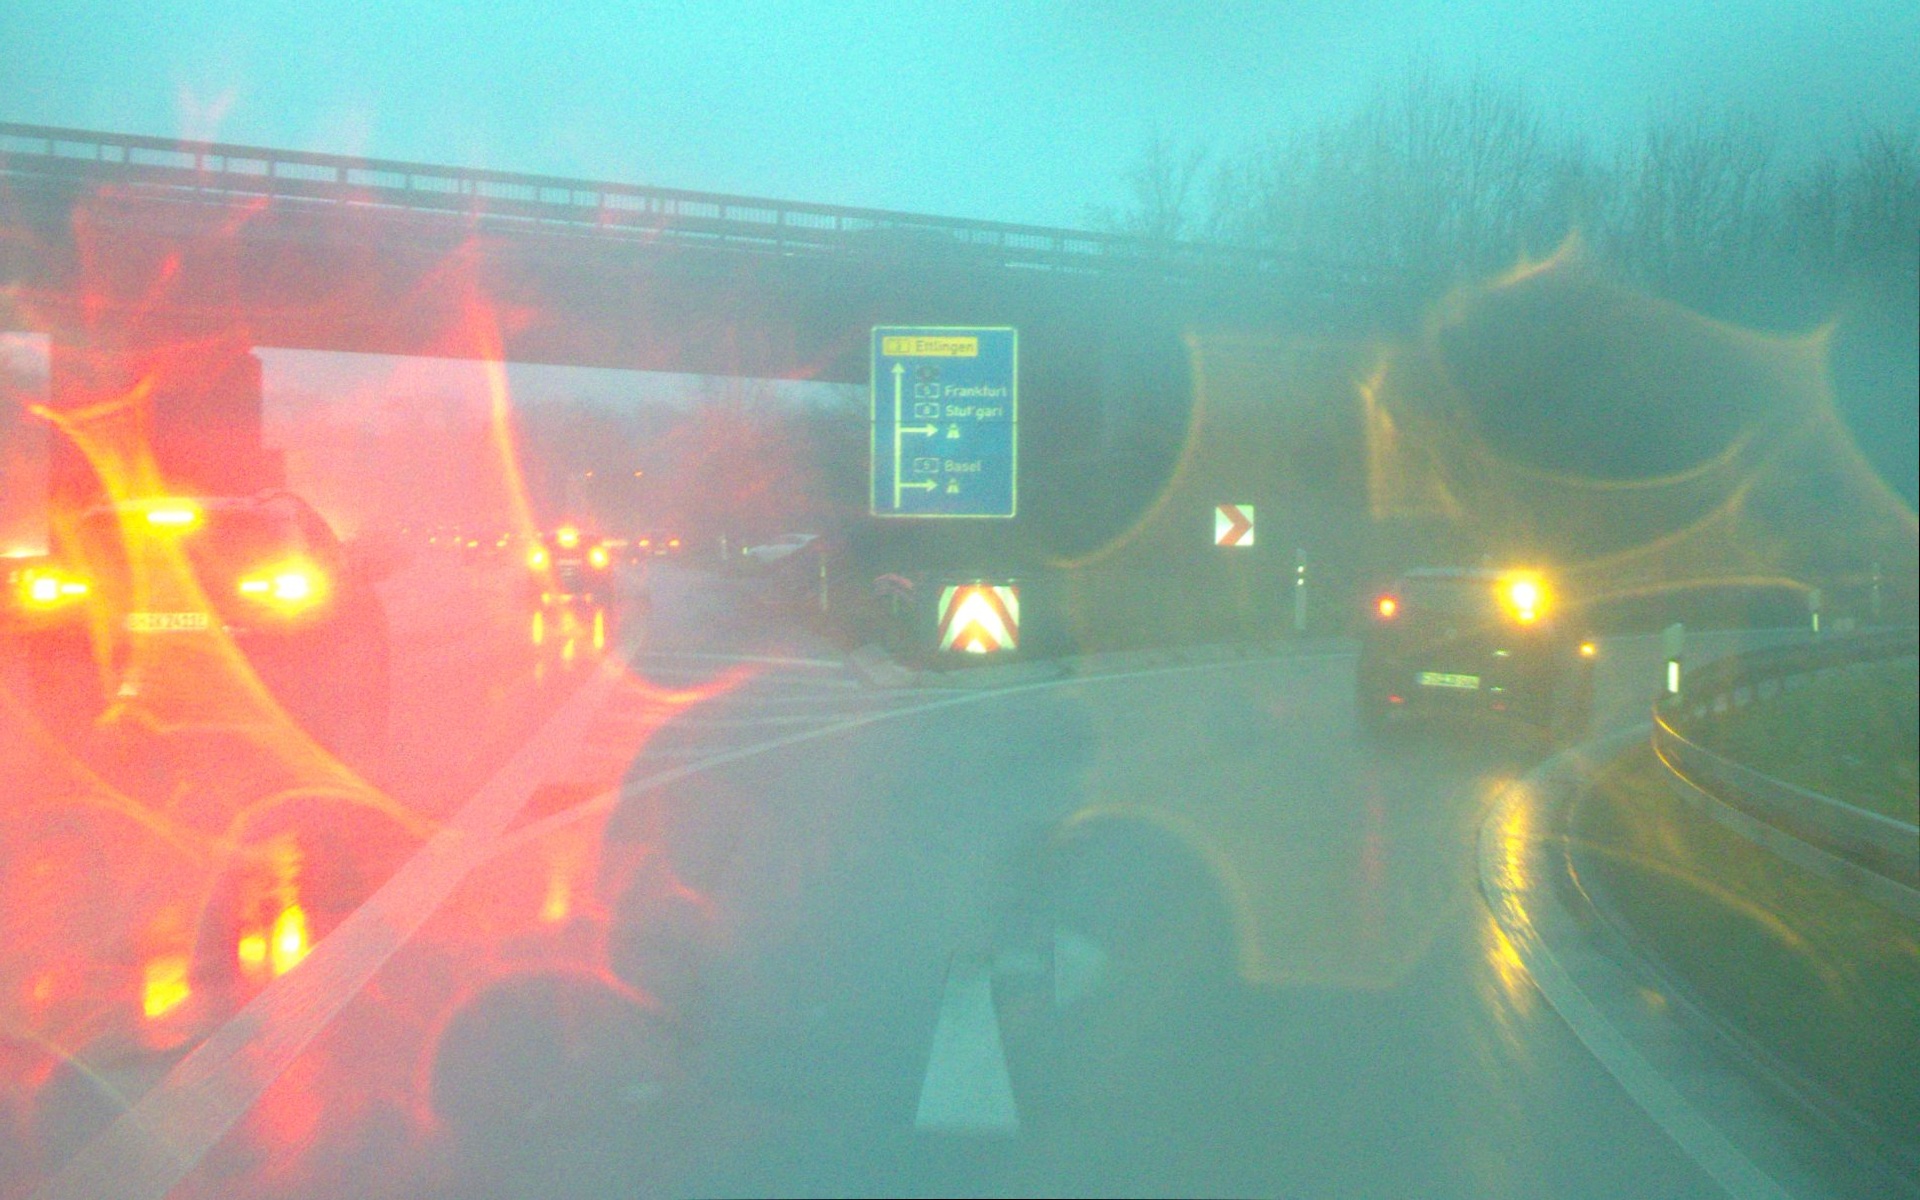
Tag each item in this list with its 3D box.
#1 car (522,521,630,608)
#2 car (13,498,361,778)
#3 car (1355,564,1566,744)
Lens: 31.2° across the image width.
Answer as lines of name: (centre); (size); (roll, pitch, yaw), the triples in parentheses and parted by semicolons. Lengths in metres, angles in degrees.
car: (-7.995, -0.762, 71.793); (1.878, 1.611, 3.875); (1, 3, -1)
car: (-5.040, 0.175, 22.893); (1.993, 1.659, 4.001); (-1, 2, -9)
car: (4.462, 0.439, 30.771); (1.732, 1.424, 3.764); (-1, 2, 8)
